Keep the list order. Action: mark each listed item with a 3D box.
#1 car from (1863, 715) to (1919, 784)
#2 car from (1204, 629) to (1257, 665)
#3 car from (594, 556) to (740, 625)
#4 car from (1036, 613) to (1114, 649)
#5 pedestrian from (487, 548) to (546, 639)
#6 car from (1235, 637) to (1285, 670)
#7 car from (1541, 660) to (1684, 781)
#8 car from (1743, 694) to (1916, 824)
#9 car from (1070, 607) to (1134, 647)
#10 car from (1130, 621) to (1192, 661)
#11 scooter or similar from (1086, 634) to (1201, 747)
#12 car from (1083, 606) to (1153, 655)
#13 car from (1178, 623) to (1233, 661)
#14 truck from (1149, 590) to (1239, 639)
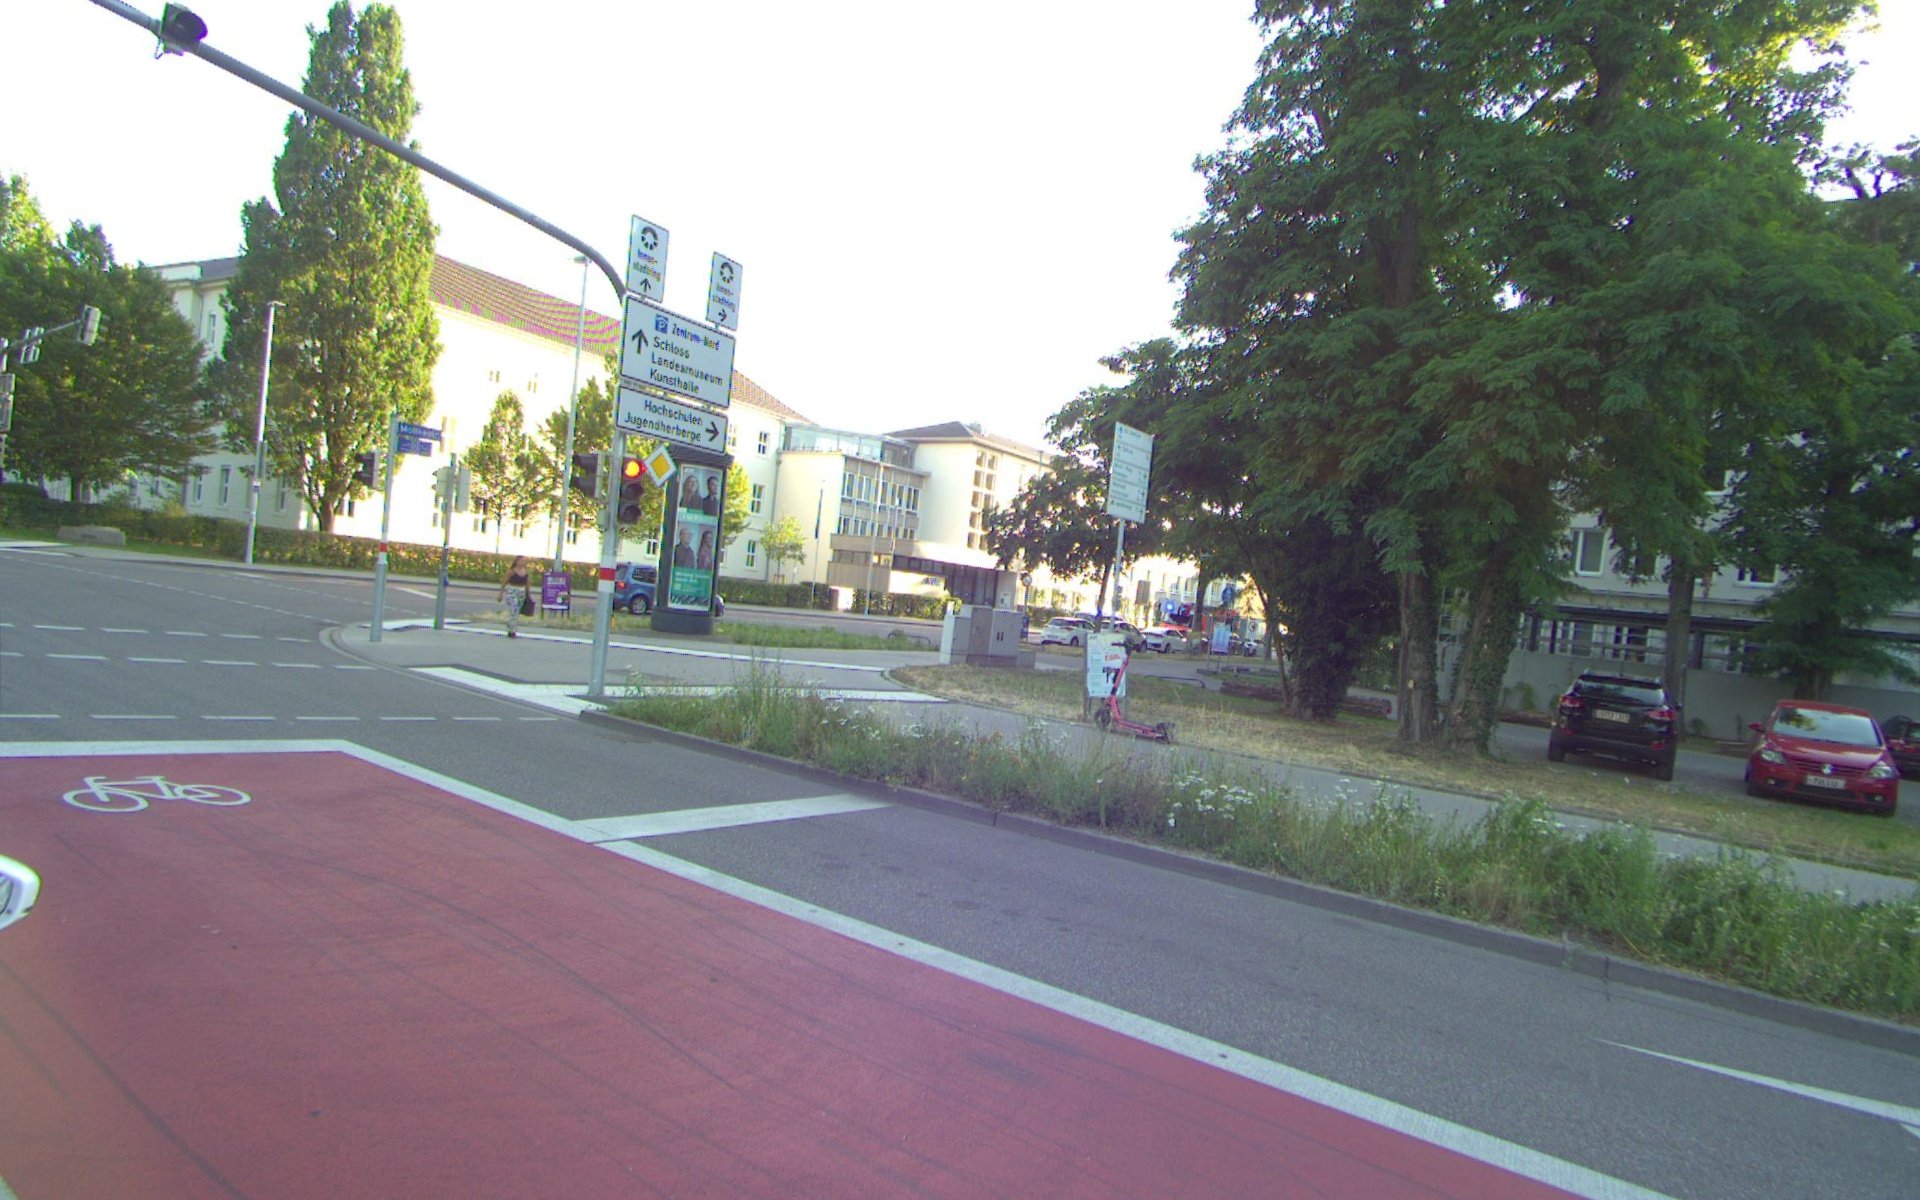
[{"bbox_3d":[23.177,3.620,24.032,1.873,1.459,3.987,7,-1,37],"label":"car"},{"bbox_3d":[17.219,3.030,63.858,1.789,1.893,4.136,7,-1,35],"label":"car"},{"bbox_3d":[-9.901,-0.289,34.122,4.262,1.742,1.834,7,2,-39],"label":"car"},{"bbox_3d":[5.474,1.491,47.707,1.793,1.358,3.985,6,0,37],"label":"car"},{"bbox_3d":[-8.549,-0.127,19.399,0.680,1.656,0.600,8,1,35],"label":"pedestrian"},{"bbox_3d":[20.368,3.656,68.235,1.873,1.831,3.988,7,-1,36],"label":"car"},{"bbox_3d":[11.762,2.109,18.063,1.808,1.715,3.899,7,-1,36],"label":"car"},{"bbox_3d":[13.991,2.453,16.402,1.759,1.581,3.984,7,0,38],"label":"car"},{"bbox_3d":[7.826,1.520,55.200,1.720,1.783,3.989,7,-1,35],"label":"car"},{"bbox_3d":[11.070,2.268,55.105,1.720,1.783,3.989,7,-1,35],"label":"car"},{"bbox_3d":[2.326,1.136,12.806,1.289,1.247,0.311,7,1,32],"label":"scooter or similar"},{"bbox_3d":[8.062,1.584,51.187,1.713,2.038,3.988,7,-1,36],"label":"car"},{"bbox_3d":[14.603,2.494,59.728,1.698,1.879,3.989,7,-1,35],"label":"car"},{"bbox_3d":[15.856,1.060,67.463,2.327,2.315,10.049,7,-1,34],"label":"truck"}]
